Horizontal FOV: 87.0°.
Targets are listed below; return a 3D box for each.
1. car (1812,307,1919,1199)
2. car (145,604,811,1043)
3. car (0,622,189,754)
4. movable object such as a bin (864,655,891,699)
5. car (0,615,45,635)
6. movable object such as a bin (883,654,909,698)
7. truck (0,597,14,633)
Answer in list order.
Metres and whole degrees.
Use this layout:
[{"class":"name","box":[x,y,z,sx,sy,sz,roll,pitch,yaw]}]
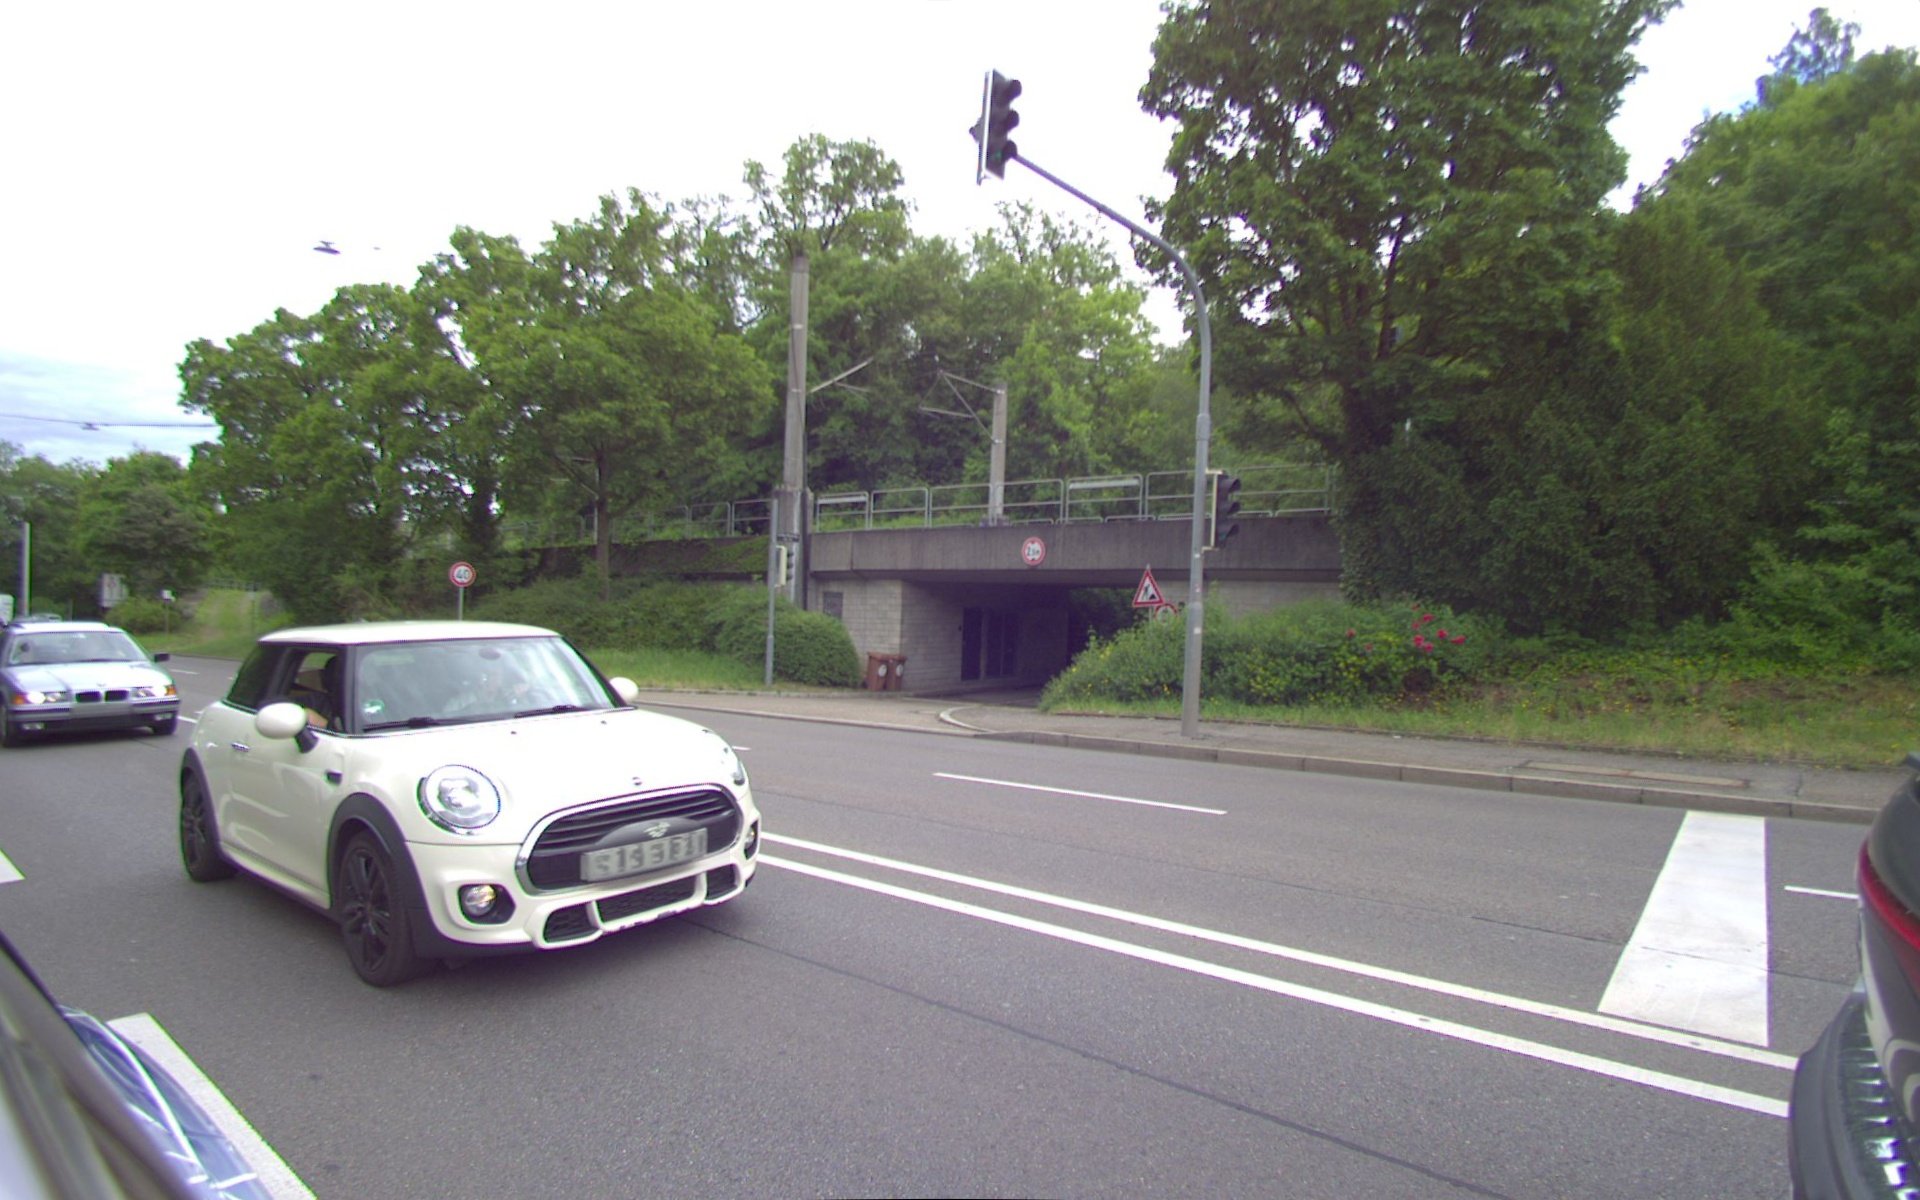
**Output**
[{"class":"car","box":[3.096,0.538,0.247,4.353,1.664,1.831,-1,-1,40]},{"class":"car","box":[-2.640,0.764,5.168,3.729,1.434,1.667,-1,-1,40]},{"class":"car","box":[-11.376,0.986,12.851,4.179,1.401,1.643,-1,-1,40]},{"class":"movable object such as a bin","box":[-2.023,1.886,24.869,0.503,1.071,0.414,-1,-3,36]},{"class":"car","box":[-84.534,2.243,90.903,1.823,1.664,4.371,2,-3,-19]},{"class":"movable object such as a bin","box":[-1.615,1.907,25.404,0.503,1.071,0.414,-1,-3,36]},{"class":"truck","box":[-87.157,1.231,89.585,2.164,3.180,6.670,2,-3,-17]}]
